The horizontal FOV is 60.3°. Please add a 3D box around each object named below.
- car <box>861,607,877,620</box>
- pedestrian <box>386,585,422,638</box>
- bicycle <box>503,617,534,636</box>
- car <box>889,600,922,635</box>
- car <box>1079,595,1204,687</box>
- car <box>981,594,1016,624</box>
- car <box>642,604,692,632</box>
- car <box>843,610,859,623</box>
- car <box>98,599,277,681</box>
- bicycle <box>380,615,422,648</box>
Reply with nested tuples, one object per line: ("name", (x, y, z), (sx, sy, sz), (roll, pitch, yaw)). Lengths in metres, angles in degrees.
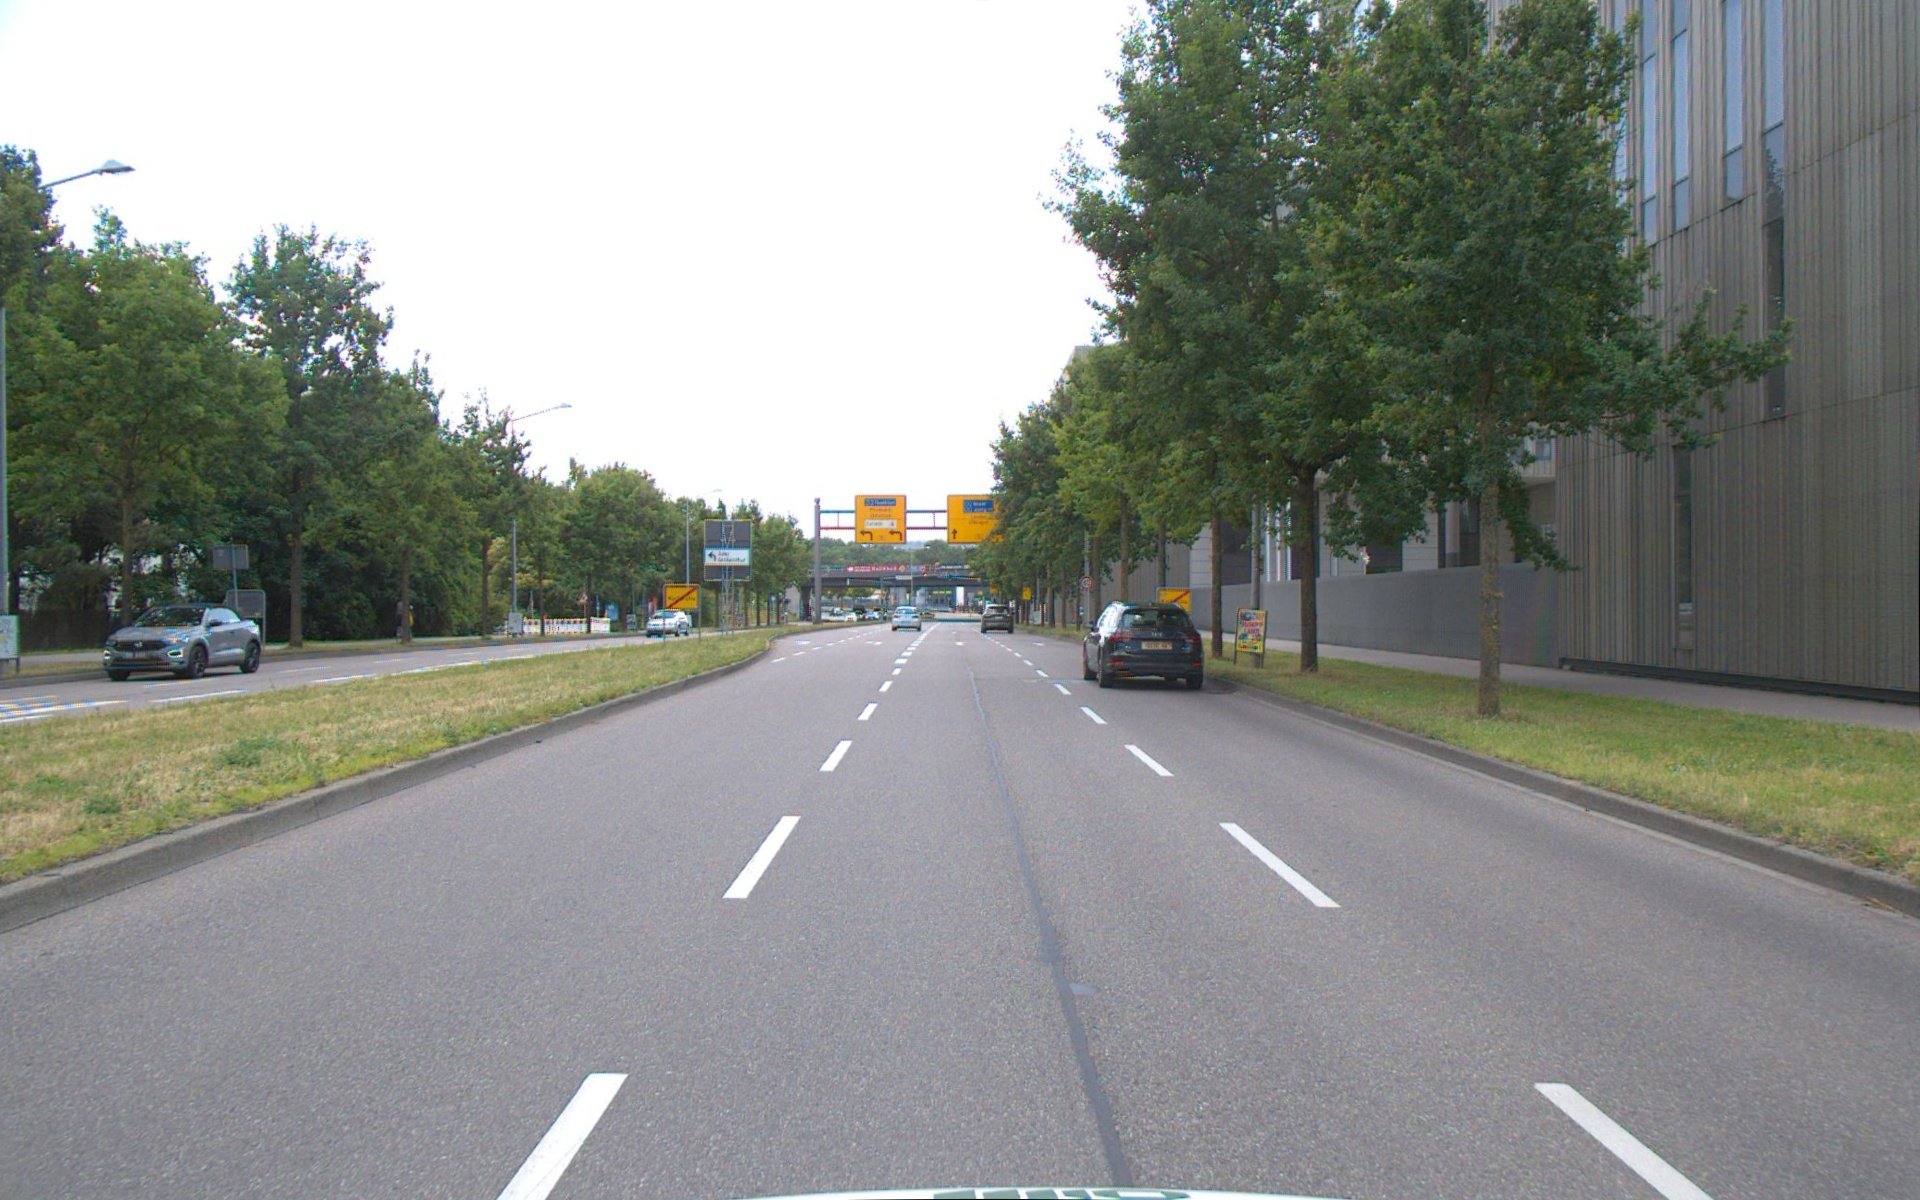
("car", (-12.281, 1.814, 223.366), (1.952, 1.646, 4.000), (-1, 0, 1))
("pedestrian", (-21.881, 0.429, 65.155), (0.950, 2.049, 1.249), (1, 0, 0))
("bicycle", (-25.872, 1.564, 96.911), (0.876, 1.078, 2.329), (0, -1, -40))
("car", (-3.333, 1.047, 100.717), (1.954, 2.049, 3.997), (1, -1, -3))
("car", (3.118, 0.686, 29.127), (1.650, 1.489, 3.998), (1, -1, -2))
("car", (2.271, 0.486, 96.032), (1.952, 1.654, 4.310), (-1, 0, 2))
("car", (-15.414, 0.924, 87.169), (1.606, 1.352, 4.383), (-1, 0, 3))
("car", (-15.101, 2.298, 228.980), (1.953, 1.814, 3.998), (1, -1, -1))
("car", (-16.339, 0.804, 35.262), (1.706, 1.572, 4.572), (-2, 0, -1))
("bicycle", (-21.997, 1.235, 65.138), (0.791, 1.248, 2.502), (-1, 0, 0))
